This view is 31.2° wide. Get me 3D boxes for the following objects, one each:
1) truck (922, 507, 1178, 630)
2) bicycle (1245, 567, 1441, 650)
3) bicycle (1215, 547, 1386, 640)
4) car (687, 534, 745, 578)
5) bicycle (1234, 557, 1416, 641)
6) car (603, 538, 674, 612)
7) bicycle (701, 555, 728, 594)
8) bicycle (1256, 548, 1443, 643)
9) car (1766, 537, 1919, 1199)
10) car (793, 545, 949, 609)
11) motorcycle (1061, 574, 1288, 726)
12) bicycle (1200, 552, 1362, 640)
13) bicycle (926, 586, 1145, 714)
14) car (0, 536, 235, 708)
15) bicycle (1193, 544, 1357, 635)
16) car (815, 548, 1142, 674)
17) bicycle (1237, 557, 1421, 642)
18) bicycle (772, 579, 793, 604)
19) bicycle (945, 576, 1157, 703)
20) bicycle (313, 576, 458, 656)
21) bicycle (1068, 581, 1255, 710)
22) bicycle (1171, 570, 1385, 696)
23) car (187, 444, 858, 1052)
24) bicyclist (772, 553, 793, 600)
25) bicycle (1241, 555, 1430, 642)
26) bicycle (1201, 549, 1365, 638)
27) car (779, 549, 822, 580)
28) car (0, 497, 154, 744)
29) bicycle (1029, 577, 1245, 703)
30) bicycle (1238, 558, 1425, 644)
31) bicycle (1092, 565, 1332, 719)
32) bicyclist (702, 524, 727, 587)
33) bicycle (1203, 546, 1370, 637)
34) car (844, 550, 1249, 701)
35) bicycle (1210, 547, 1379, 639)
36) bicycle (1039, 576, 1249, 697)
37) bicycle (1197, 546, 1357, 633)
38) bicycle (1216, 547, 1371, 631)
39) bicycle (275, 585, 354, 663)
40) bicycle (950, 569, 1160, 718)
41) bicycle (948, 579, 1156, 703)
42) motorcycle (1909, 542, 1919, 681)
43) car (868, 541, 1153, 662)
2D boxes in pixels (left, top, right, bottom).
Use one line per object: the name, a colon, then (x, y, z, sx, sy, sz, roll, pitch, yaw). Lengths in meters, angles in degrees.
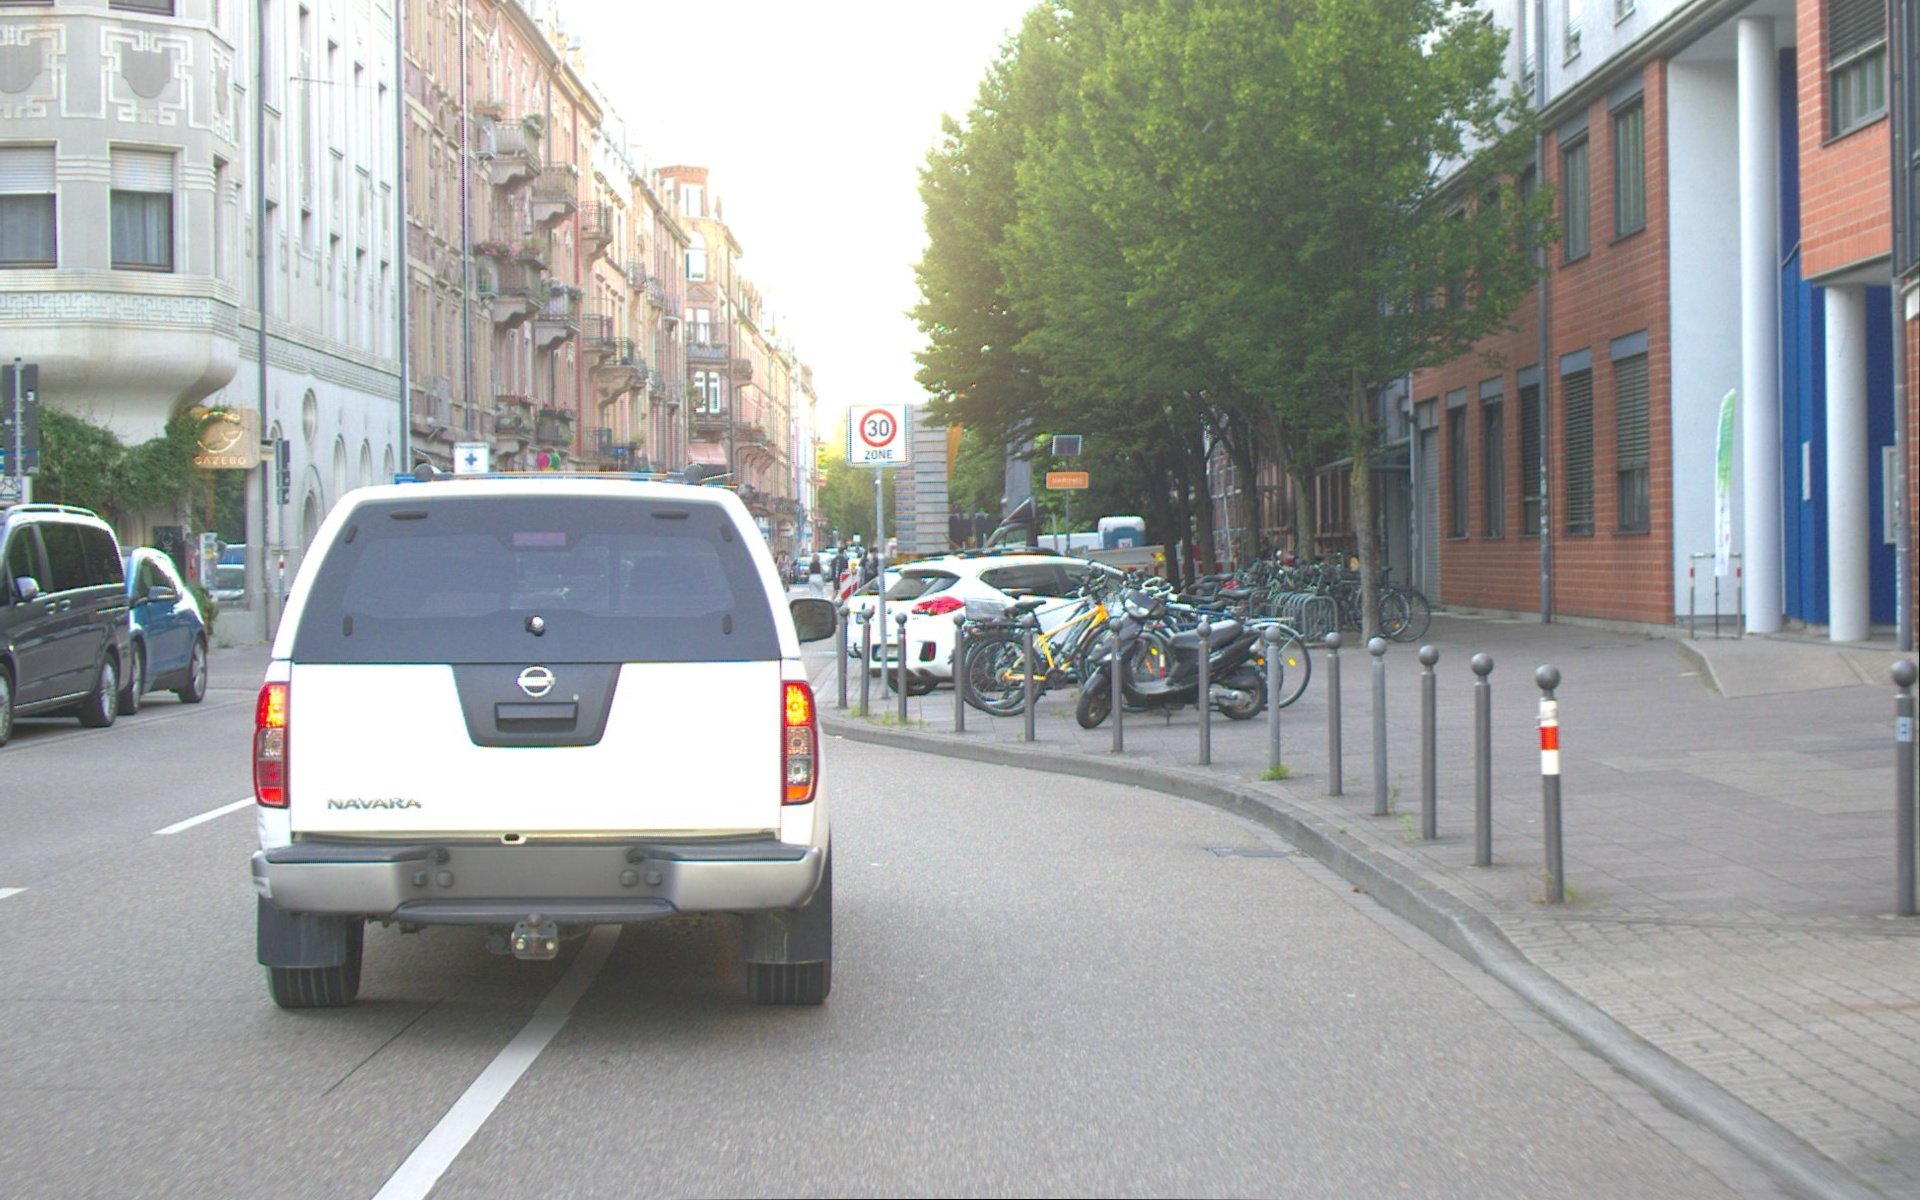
truck: (2.250, -0.777, 86.281, 6.320, 2.966, 2.264, 0, -2, 1)
bicycle: (5.162, 0.114, 46.478, 2.534, 0.956, 0.680, -4, 0, 2)
bicycle: (5.140, -0.106, 51.986, 2.534, 1.375, 0.599, -1, 1, 2)
car: (-8.651, -1.576, 122.184, 1.791, 1.525, 4.000, 0, 1, 0)
bicycle: (5.193, -0.020, 48.982, 2.534, 1.162, 0.562, -1, 1, 2)
car: (-8.673, -0.694, 92.972, 1.559, 1.914, 3.856, 1, 1, -1)
bicycle: (-6.683, -0.696, 93.668, 0.614, 1.036, 1.904, -1, 1, -1)
bicycle: (5.118, -0.063, 45.269, 2.346, 1.095, 0.680, -4, 0, 2)
car: (4.038, 0.575, 8.216, 4.056, 1.487, 1.724, -1, 1, -31)
car: (-2.497, -0.664, 97.011, 4.196, 1.774, 1.819, 0, 1, 5)
motorcycle: (1.694, 0.388, 27.212, 1.644, 1.098, 0.647, -3, 1, -9)
bicycle: (5.115, -0.065, 54.897, 2.534, 1.375, 0.599, -1, 1, 2)
bicycle: (0.660, 0.435, 30.165, 1.857, 1.035, 0.472, -2, 1, -2)
car: (-8.274, 0.173, 33.083, 1.640, 1.550, 4.004, 0, 1, 2)
bicycle: (5.153, -0.180, 56.295, 2.534, 1.240, 0.599, -6, 0, 2)
car: (0.256, 0.108, 44.850, 3.987, 1.532, 1.636, -1, 1, -31)
bicycle: (5.183, -0.008, 48.371, 2.534, 1.162, 0.562, -1, 1, 2)
bicycle: (-6.945, -0.339, 134.600, 0.800, 0.944, 2.005, 0, 1, -3)
bicycle: (0.821, 0.352, 31.173, 1.857, 1.062, 0.446, -2, 1, -2)
bicycle: (-8.160, 0.221, 48.833, 2.113, 1.091, 0.500, 1, 2, 24)
bicycle: (1.734, 0.390, 29.671, 1.539, 1.035, 0.472, -2, 1, -2)
bicycle: (2.900, 0.300, 31.432, 1.857, 1.062, 0.524, -2, 1, -2)
car: (-1.363, 0.349, 12.471, 1.933, 1.788, 4.623, 0, 2, -1)
bicyclist: (-6.955, -0.925, 134.685, 0.800, 1.843, 0.944, 0, 1, -3)
bicycle: (5.137, -0.024, 47.099, 2.534, 1.162, 0.562, -1, 1, 2)
bicycle: (5.079, -0.103, 54.144, 2.534, 1.375, 0.599, -1, 1, 2)
car: (-8.136, -1.815, 175.853, 1.847, 1.546, 4.355, 0, 1, 2)
car: (-8.210, 0.128, 27.952, 1.993, 1.860, 5.289, 0, 1, 1)
bicycle: (1.575, 0.355, 30.740, 1.857, 1.035, 0.402, -2, 1, -2)
bicycle: (5.149, 0.011, 47.715, 2.534, 1.162, 0.562, -1, 1, 2)
bicycle: (2.070, 0.339, 28.377, 1.859, 1.142, 0.659, -4, 1, -1)
bicyclist: (-6.685, -1.214, 93.639, 0.603, 1.679, 1.142, -1, 1, 0)
bicycle: (5.059, -0.128, 53.361, 2.534, 1.375, 0.599, -1, 1, 2)
car: (0.943, 0.239, 36.971, 3.987, 1.501, 1.770, -1, 1, -29)
bicycle: (5.123, -0.114, 52.684, 2.534, 1.375, 0.599, -1, 1, 2)
bicycle: (1.742, 0.340, 32.634, 1.911, 1.062, 0.524, -2, 1, -2)
bicycle: (5.125, -0.174, 55.587, 2.534, 1.375, 0.599, -1, 1, 2)
bicycle: (5.559, -0.189, 57.455, 2.534, 1.375, 0.599, -1, 1, 2)
bicycle: (-8.988, 0.325, 47.914, 0.423, 1.009, 1.717, 0, 2, 13)
bicycle: (0.799, 0.362, 29.072, 1.707, 1.172, 0.472, -2, 1, -2)
bicycle: (0.844, 0.373, 31.776, 1.857, 1.062, 0.446, -2, 1, -2)
motorcycle: (7.966, 0.085, 26.435, 0.588, 1.099, 2.084, -3, 1, -4)
car: (0.709, -0.002, 47.604, 3.594, 1.575, 1.716, -1, 1, -33)
